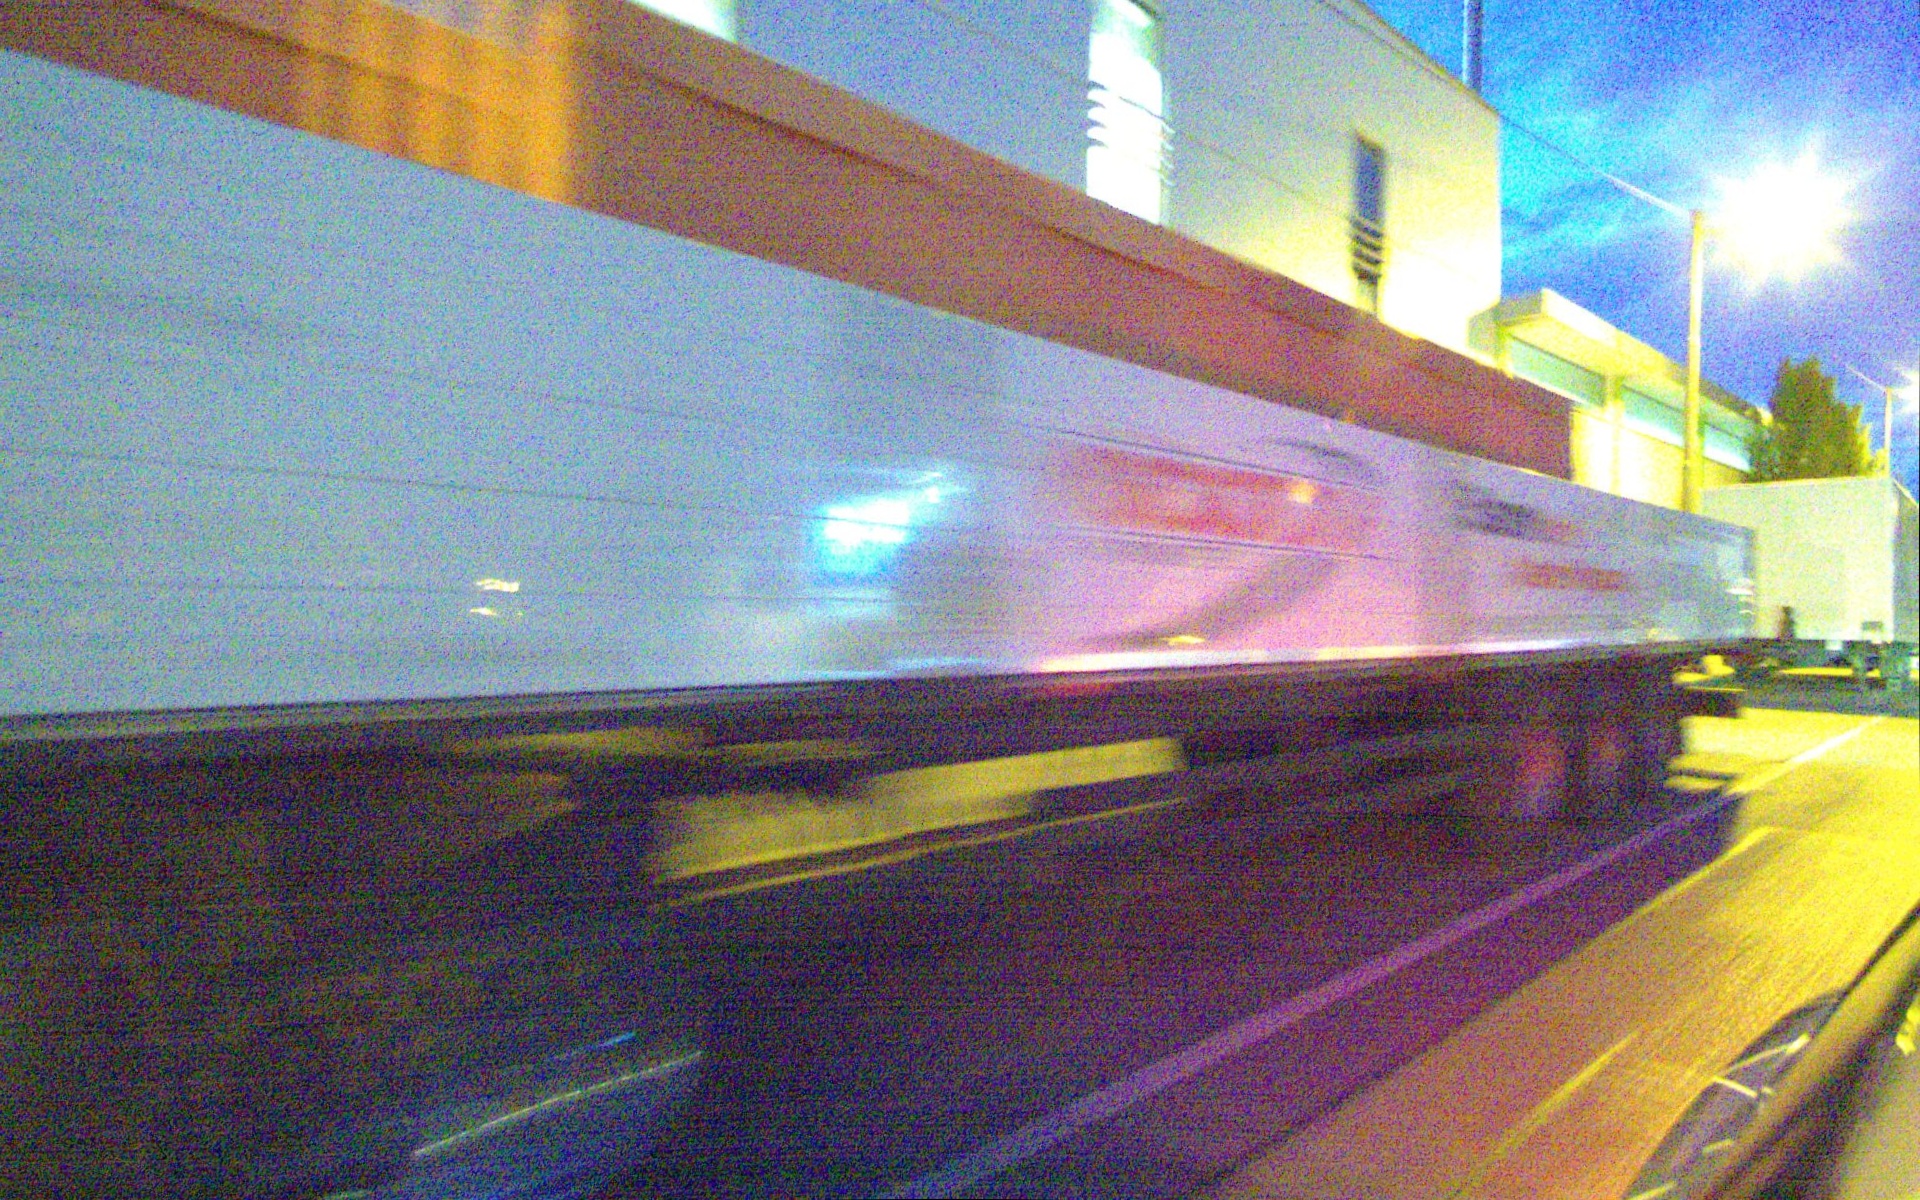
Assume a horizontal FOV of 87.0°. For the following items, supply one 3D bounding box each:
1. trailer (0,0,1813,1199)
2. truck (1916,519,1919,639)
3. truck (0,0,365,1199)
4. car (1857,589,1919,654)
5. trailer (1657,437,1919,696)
[{"bbox_3d":[1.350,-0.495,5.583,14.398,3.811,2.770,-1,0,-40],"label":"trailer"},{"bbox_3d":[36.712,-0.694,36.143,9.648,4.021,2.795,0,-1,-41],"label":"truck"},{"bbox_3d":[-3.867,-0.408,1.135,5.136,3.811,2.771,-1,0,-40],"label":"truck"},{"bbox_3d":[24.803,0.517,26.349,3.414,1.580,1.684,0,1,-40],"label":"car"},{"bbox_3d":[15.170,-0.505,17.694,8.137,3.568,2.884,0,1,-40],"label":"trailer"}]
